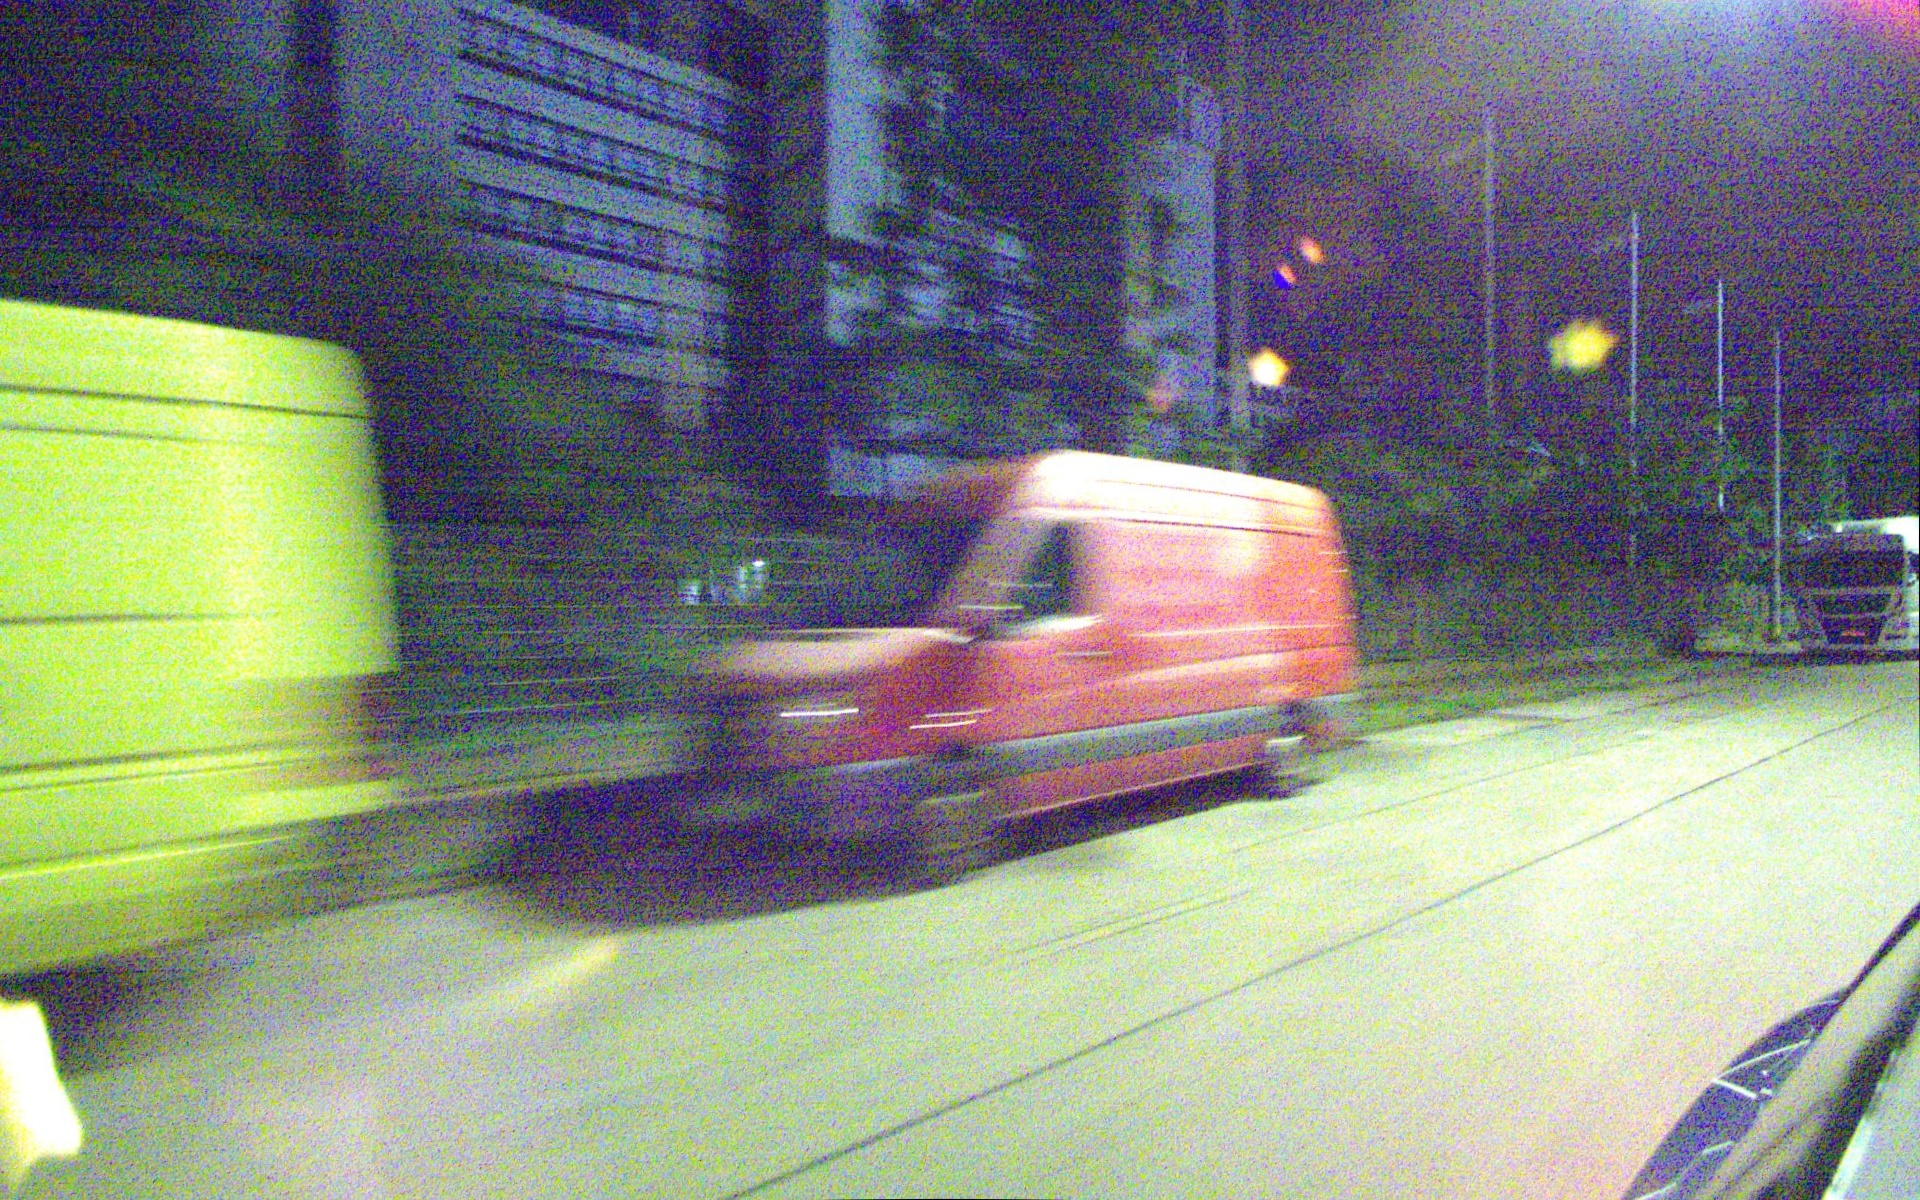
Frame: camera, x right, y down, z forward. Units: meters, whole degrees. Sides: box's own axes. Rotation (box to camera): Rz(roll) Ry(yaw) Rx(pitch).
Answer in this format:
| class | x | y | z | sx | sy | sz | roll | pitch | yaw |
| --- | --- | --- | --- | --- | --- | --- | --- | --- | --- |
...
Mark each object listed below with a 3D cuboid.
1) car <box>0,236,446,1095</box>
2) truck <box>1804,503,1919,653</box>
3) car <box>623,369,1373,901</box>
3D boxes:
| class | x | y | z | sx | sy | sz | roll | pitch | yaw |
| --- | --- | --- | --- | --- | --- | --- | --- | --- | --- |
| car | -5.091 | 0.225 | 2.552 | 6.524 | 2.580 | 1.945 | -1 | -1 | -38 |
| truck | 29.279 | -0.633 | 30.669 | 12.418 | 3.886 | 2.517 | -1 | -1 | -35 |
| car | 0.734 | 0.147 | 7.636 | 5.922 | 2.580 | 1.996 | -1 | -1 | -42 |
